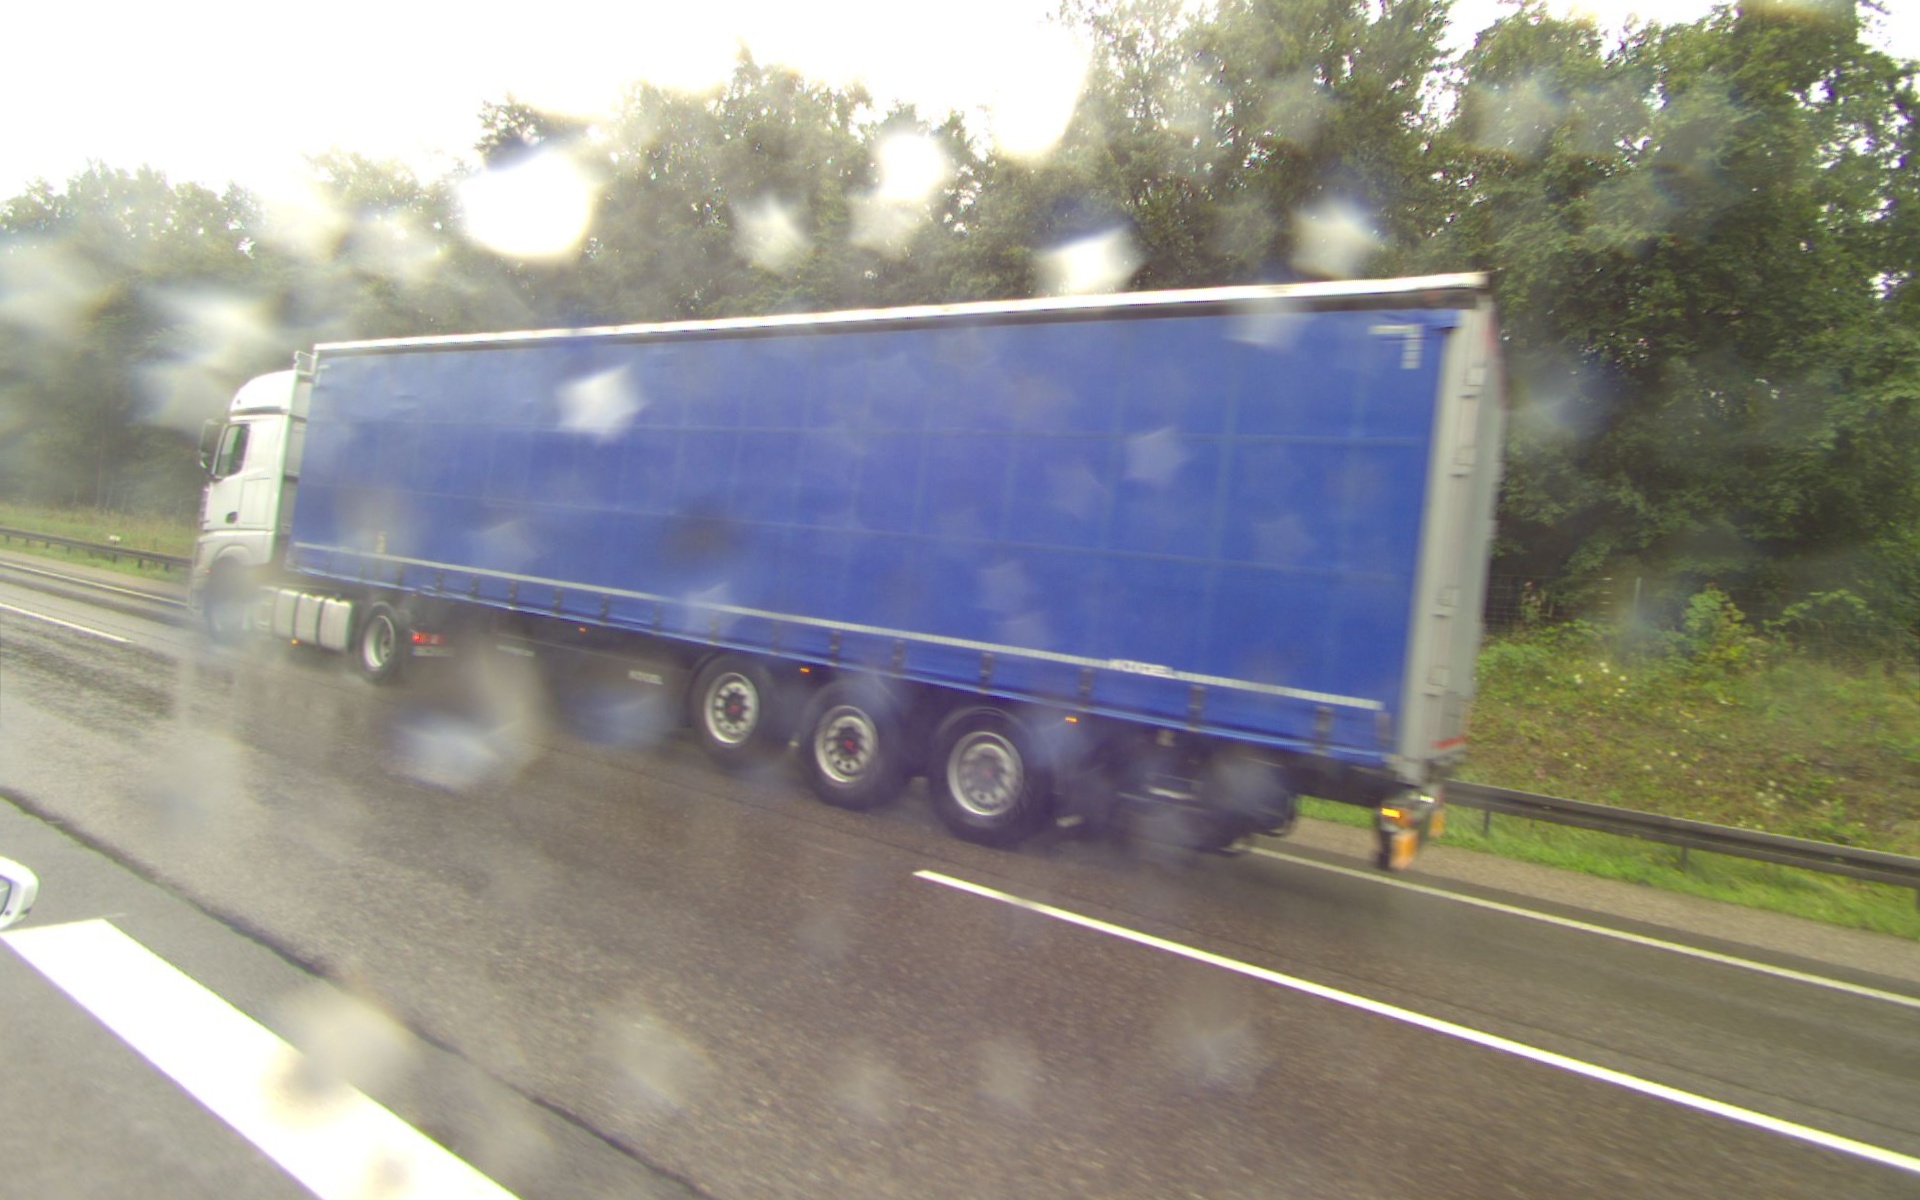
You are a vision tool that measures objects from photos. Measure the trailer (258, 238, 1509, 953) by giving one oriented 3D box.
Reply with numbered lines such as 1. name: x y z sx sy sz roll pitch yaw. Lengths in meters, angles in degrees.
1. trailer: -2.297 -0.553 10.319 13.487 4.060 2.558 7 -1 32

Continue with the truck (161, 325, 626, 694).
1. truck: -7.860 -1.188 13.786 5.912 4.060 2.606 7 -1 32
